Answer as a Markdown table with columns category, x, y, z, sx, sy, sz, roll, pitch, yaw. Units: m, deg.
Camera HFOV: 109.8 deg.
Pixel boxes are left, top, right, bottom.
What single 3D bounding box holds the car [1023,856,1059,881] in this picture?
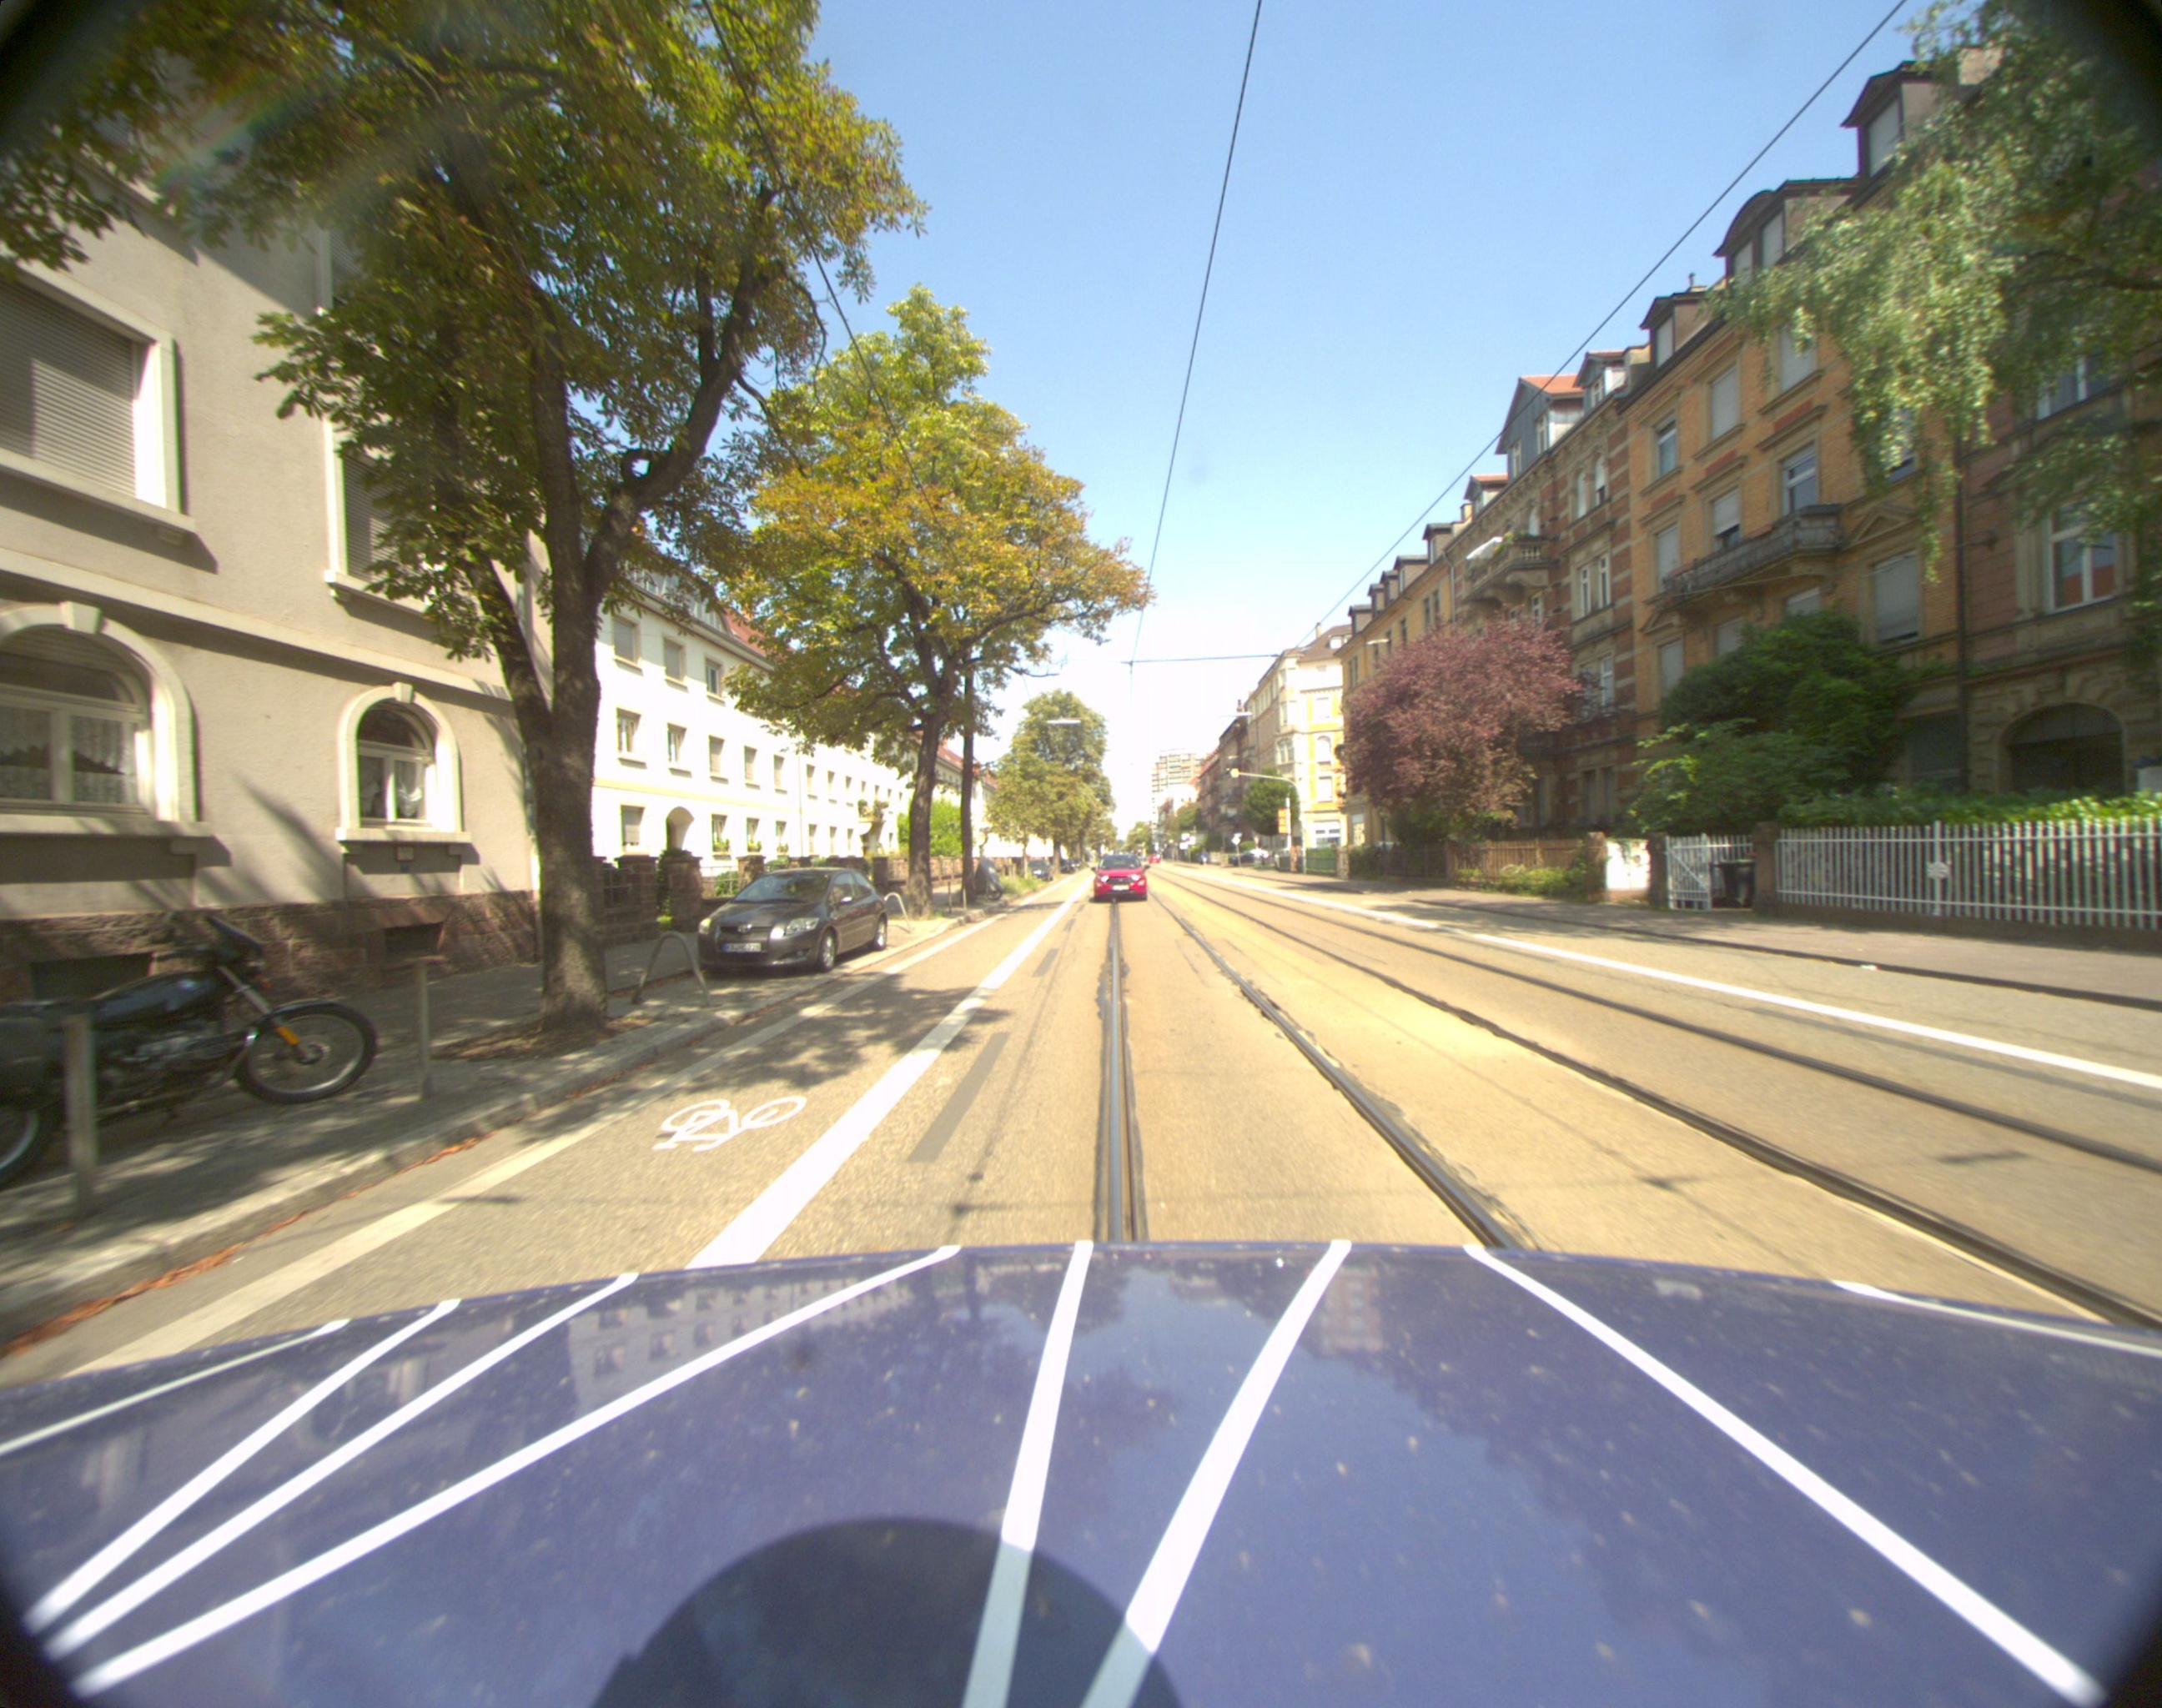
| category | x | y | z | sx | sy | sz | roll | pitch | yaw |
| --- | --- | --- | --- | --- | --- | --- | --- | --- | --- |
| car | -2.585 | 0.928 | 49.915 | 1.897 | 1.468 | 4.841 | -2 | 0 | 2 |

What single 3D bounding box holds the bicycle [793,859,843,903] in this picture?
| category | x | y | z | sx | sy | sz | roll | pitch | yaw |
| --- | --- | --- | --- | --- | --- | --- | --- | --- | --- |
| bicycle | -8.740 | 0.866 | 25.324 | 0.595 | 1.350 | 2.369 | -2 | 1 | 5 |

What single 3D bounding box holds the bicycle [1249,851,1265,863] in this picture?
| category | x | y | z | sx | sy | sz | roll | pitch | yaw |
| --- | --- | --- | --- | --- | --- | --- | --- | --- | --- |
| bicycle | 16.557 | 0.283 | 71.596 | 1.453 | 1.092 | 0.390 | -2 | 0 | -20 |

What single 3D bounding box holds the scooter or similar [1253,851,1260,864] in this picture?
| category | x | y | z | sx | sy | sz | roll | pitch | yaw |
| --- | --- | --- | --- | --- | --- | --- | --- | --- | --- |
| scooter or similar | 16.211 | 0.314 | 70.271 | 0.597 | 1.092 | 1.390 | -2 | 0 | 13 |

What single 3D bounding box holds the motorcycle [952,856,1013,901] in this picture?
| category | x | y | z | sx | sy | sz | roll | pitch | yaw |
| --- | --- | --- | --- | --- | --- | --- | --- | --- | --- |
| motorcycle | -3.654 | 0.885 | 28.062 | 2.339 | 1.531 | 0.971 | 2 | 3 | 44 |

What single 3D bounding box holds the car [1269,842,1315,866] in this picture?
| category | x | y | z | sx | sy | sz | roll | pitch | yaw |
| --- | --- | --- | --- | --- | --- | --- | --- | --- | --- |
| car | 15.030 | -0.005 | 54.380 | 1.999 | 1.585 | 4.359 | -1 | 0 | -1 |

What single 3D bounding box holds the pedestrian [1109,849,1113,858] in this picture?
| category | x | y | z | sx | sy | sz | roll | pitch | yaw |
| --- | --- | --- | --- | --- | --- | --- | --- | --- | --- |
| pedestrian | 6.435 | -0.155 | 162.259 | 0.676 | 1.874 | 0.921 | -2 | 1 | -17 |

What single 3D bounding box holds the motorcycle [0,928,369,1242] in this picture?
| category | x | y | z | sx | sy | sz | roll | pitch | yaw |
| --- | --- | --- | --- | --- | --- | --- | --- | --- | --- |
| motorcycle | -5.240 | 1.140 | 4.072 | 0.712 | 1.248 | 2.177 | -2 | 0 | 1 |

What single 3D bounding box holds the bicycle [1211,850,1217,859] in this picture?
| category | x | y | z | sx | sy | sz | roll | pitch | yaw |
| --- | --- | --- | --- | --- | --- | --- | --- | --- | --- |
| bicycle | 15.204 | 0.072 | 86.744 | 0.391 | 1.032 | 1.834 | -2 | 0 | 4 |

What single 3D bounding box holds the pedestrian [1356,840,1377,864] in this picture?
| category | x | y | z | sx | sy | sz | roll | pitch | yaw |
| --- | --- | --- | --- | --- | --- | --- | --- | --- | --- |
| pedestrian | 17.850 | -0.127 | 47.478 | 0.870 | 1.502 | 0.886 | -2 | 0 | -6 |

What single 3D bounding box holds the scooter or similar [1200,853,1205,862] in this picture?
| category | x | y | z | sx | sy | sz | roll | pitch | yaw |
| --- | --- | --- | --- | --- | --- | --- | --- | --- | --- |
| scooter or similar | 13.836 | 0.426 | 86.818 | 0.401 | 0.977 | 0.584 | -3 | 1 | -5 |

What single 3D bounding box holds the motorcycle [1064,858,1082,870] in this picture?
| category | x | y | z | sx | sy | sz | roll | pitch | yaw |
| --- | --- | --- | --- | --- | --- | --- | --- | --- | --- |
| motorcycle | -0.935 | 1.164 | 86.644 | 2.009 | 1.360 | 0.782 | -1 | 1 | 0 |

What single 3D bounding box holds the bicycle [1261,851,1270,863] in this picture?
| category | x | y | z | sx | sy | sz | roll | pitch | yaw |
| --- | --- | --- | --- | --- | --- | --- | --- | --- | --- |
| bicycle | 17.060 | 0.264 | 70.184 | 0.389 | 1.092 | 1.454 | -2 | 0 | 28 |

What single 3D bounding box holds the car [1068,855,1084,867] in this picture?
| category | x | y | z | sx | sy | sz | roll | pitch | yaw |
| --- | --- | --- | --- | --- | --- | --- | --- | --- | --- |
| car | -0.605 | 0.827 | 90.680 | 1.620 | 1.468 | 4.039 | 0 | 0 | 3 |

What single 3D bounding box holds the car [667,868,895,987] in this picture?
| category | x | y | z | sx | sy | sz | roll | pitch | yaw |
| --- | --- | --- | --- | --- | --- | --- | --- | --- | --- |
| car | -4.469 | 1.020 | 12.078 | 1.845 | 1.523 | 4.116 | -1 | -1 | 2 |

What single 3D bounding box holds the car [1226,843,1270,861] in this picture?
| category | x | y | z | sx | sy | sz | roll | pitch | yaw |
| --- | --- | --- | --- | --- | --- | --- | --- | --- | --- |
| car | 16.711 | -0.182 | 76.197 | 4.110 | 1.585 | 1.879 | -3 | 0 | 4 |

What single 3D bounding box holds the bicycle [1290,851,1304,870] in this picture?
| category | x | y | z | sx | sy | sz | roll | pitch | yaw |
| --- | --- | --- | --- | --- | --- | --- | --- | --- | --- |
| bicycle | 12.734 | 0.395 | 44.862 | 0.391 | 1.092 | 1.568 | -2 | 0 | 0 |

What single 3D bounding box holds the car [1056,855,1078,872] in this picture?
| category | x | y | z | sx | sy | sz | roll | pitch | yaw |
| --- | --- | --- | --- | --- | --- | --- | --- | --- | --- |
| car | -1.234 | 0.832 | 68.355 | 1.759 | 1.468 | 4.387 | -2 | 0 | 2 |

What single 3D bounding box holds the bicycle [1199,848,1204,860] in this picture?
| category | x | y | z | sx | sy | sz | roll | pitch | yaw |
| --- | --- | --- | --- | --- | --- | --- | --- | --- | --- |
| bicycle | 15.301 | -0.005 | 96.554 | 0.391 | 1.397 | 1.582 | -2 | 0 | 4 |

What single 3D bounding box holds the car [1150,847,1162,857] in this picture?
| category | x | y | z | sx | sy | sz | roll | pitch | yaw |
| --- | --- | --- | --- | --- | --- | --- | --- | --- | --- |
| car | 12.242 | -0.341 | 124.419 | 1.736 | 1.481 | 4.001 | -1 | 0 | 2 |

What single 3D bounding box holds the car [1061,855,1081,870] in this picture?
| category | x | y | z | sx | sy | sz | roll | pitch | yaw |
| --- | --- | --- | --- | --- | --- | --- | --- | --- | --- |
| car | -1.030 | 0.869 | 79.835 | 1.759 | 1.469 | 4.458 | 2 | 1 | 3 |

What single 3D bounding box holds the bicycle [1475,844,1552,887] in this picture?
| category | x | y | z | sx | sy | sz | roll | pitch | yaw |
| --- | --- | --- | --- | --- | --- | --- | --- | --- | --- |
| bicycle | 12.801 | 0.340 | 22.533 | 1.816 | 1.175 | 0.717 | -3 | 1 | 5 |

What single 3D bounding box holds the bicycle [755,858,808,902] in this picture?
| category | x | y | z | sx | sy | sz | roll | pitch | yaw |
| --- | --- | --- | --- | --- | --- | --- | --- | --- | --- |
| bicycle | -9.948 | 0.841 | 25.343 | 0.595 | 1.350 | 2.369 | -2 | 1 | 5 |

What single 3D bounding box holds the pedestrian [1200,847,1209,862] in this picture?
| category | x | y | z | sx | sy | sz | roll | pitch | yaw |
| --- | --- | --- | --- | --- | --- | --- | --- | --- | --- |
| pedestrian | 14.064 | 0.057 | 86.367 | 0.885 | 1.745 | 0.870 | -2 | 0 | 3 |

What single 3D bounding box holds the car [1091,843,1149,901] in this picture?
| category | x | y | z | sx | sy | sz | roll | pitch | yaw |
| --- | --- | --- | --- | --- | --- | --- | --- | --- | --- |
| car | 1.444 | 0.553 | 26.455 | 1.802 | 1.801 | 4.417 | -1 | 1 | 5 |

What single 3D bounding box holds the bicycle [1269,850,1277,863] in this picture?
| category | x | y | z | sx | sy | sz | roll | pitch | yaw |
| --- | --- | --- | --- | --- | --- | --- | --- | --- | --- |
| bicycle | 17.651 | 0.215 | 69.780 | 0.389 | 1.092 | 1.454 | -2 | 0 | 28 |
